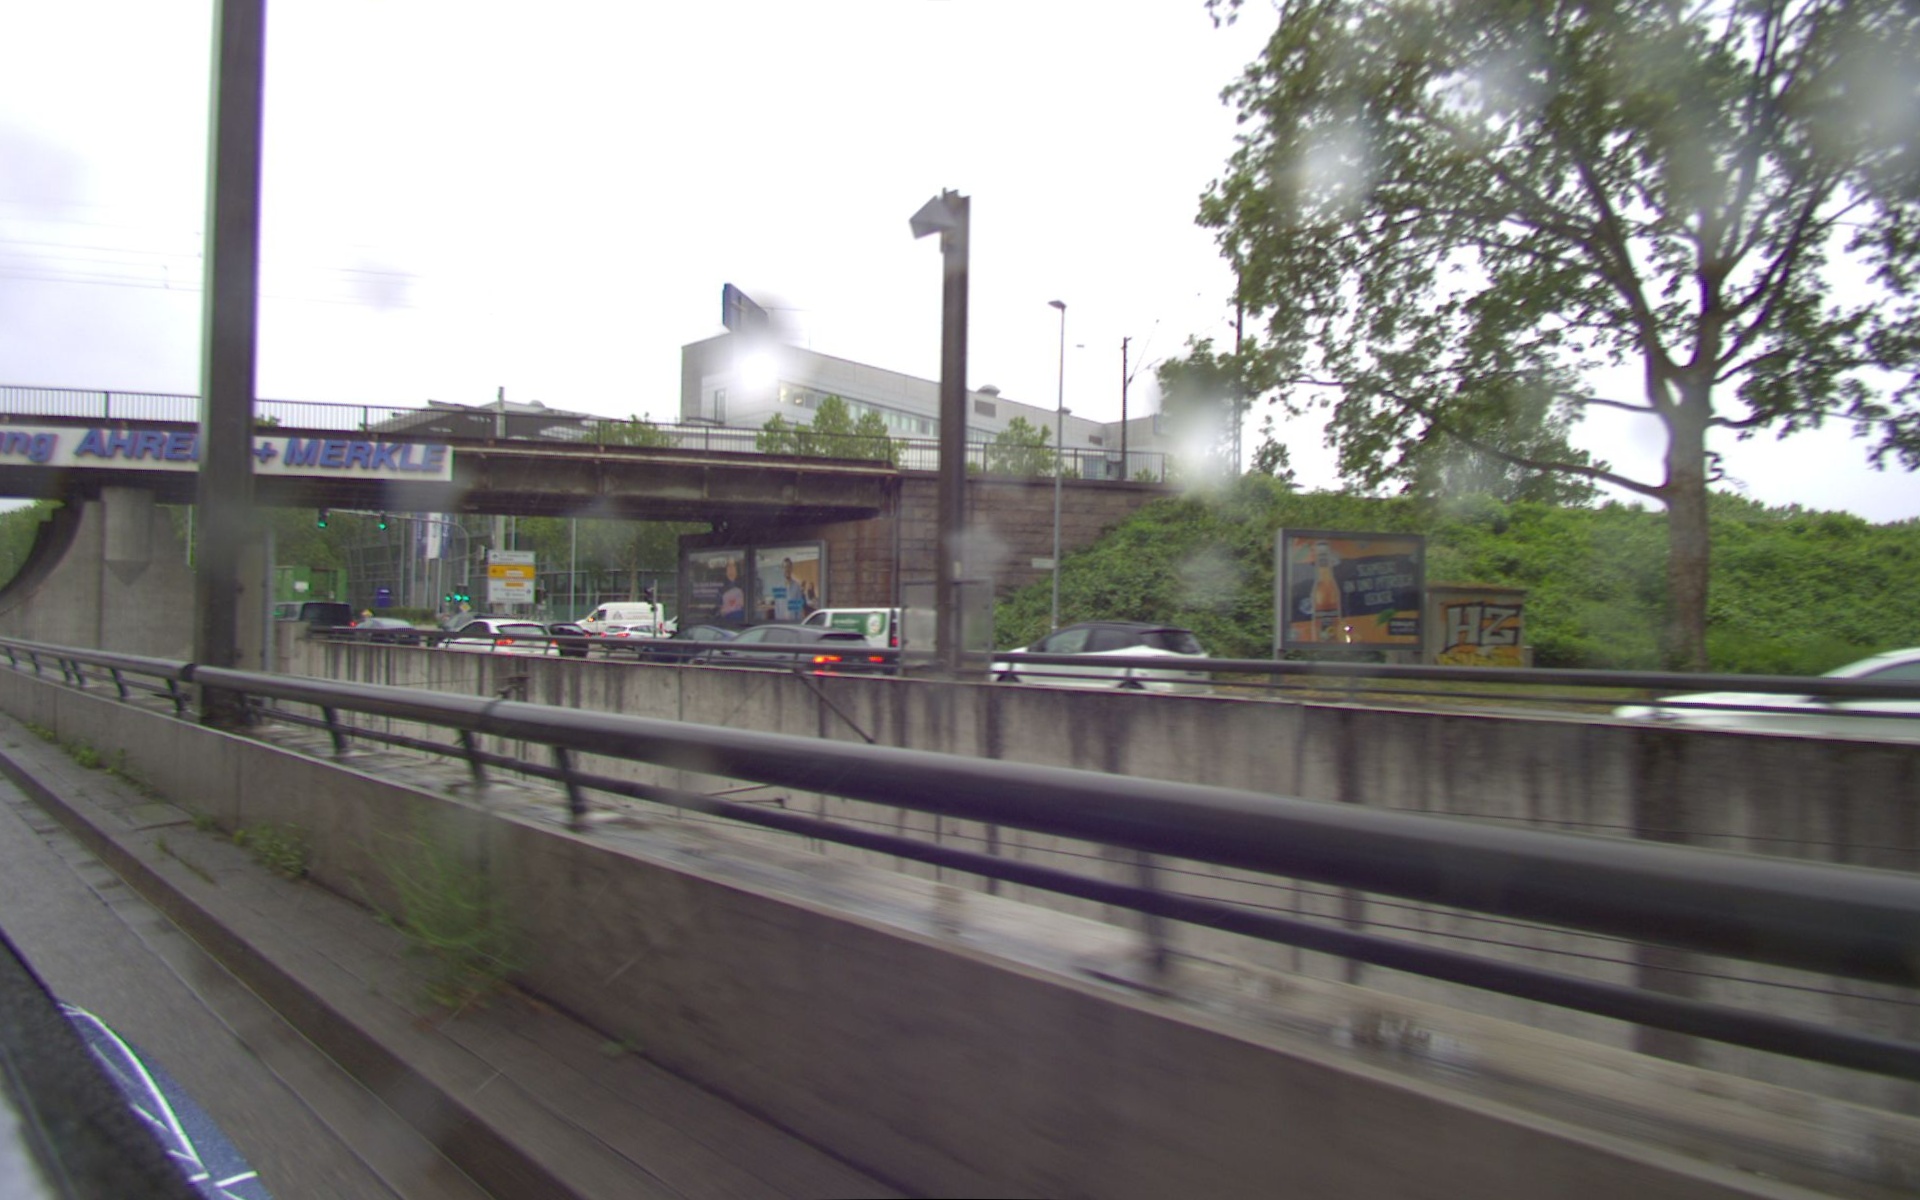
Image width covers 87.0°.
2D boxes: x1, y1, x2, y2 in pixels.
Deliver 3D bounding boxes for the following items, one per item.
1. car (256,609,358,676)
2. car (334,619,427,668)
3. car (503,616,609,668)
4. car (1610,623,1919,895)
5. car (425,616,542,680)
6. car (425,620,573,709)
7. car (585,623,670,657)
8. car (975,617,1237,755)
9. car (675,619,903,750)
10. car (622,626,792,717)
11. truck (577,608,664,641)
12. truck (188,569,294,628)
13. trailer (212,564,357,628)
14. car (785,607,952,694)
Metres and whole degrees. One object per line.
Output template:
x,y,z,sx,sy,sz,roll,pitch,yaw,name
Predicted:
-23.745,1.473,36.736,4.365,2.260,1.973,-1,0,41,car
-23.150,1.693,40.403,4.195,1.804,1.973,-1,0,41,car
-15.111,1.502,37.788,4.195,1.804,1.973,-1,0,41,car
8.220,1.237,8.310,4.614,2.029,1.973,-1,0,41,car
-15.958,1.529,33.820,4.365,1.944,1.973,-1,0,41,car
-11.804,1.552,25.818,3.998,2.029,1.973,-1,0,41,car
-16.864,1.995,51.489,1.985,1.561,4.168,-1,0,20,car
2.414,1.329,17.260,3.998,2.029,1.973,-1,0,41,car
-3.151,1.390,18.267,3.998,2.029,1.973,-1,0,41,car
-6.500,1.727,25.756,4.508,2.029,1.973,-1,0,41,car
-21.895,1.548,65.484,5.174,2.029,2.221,-1,0,-14,truck
-42.976,-0.086,60.469,6.512,3.334,3.344,-1,0,37,truck
-37.948,-0.156,56.657,11.103,3.284,3.291,-1,0,37,trailer
-2.417,1.225,26.156,4.195,2.029,1.973,-1,0,41,car
